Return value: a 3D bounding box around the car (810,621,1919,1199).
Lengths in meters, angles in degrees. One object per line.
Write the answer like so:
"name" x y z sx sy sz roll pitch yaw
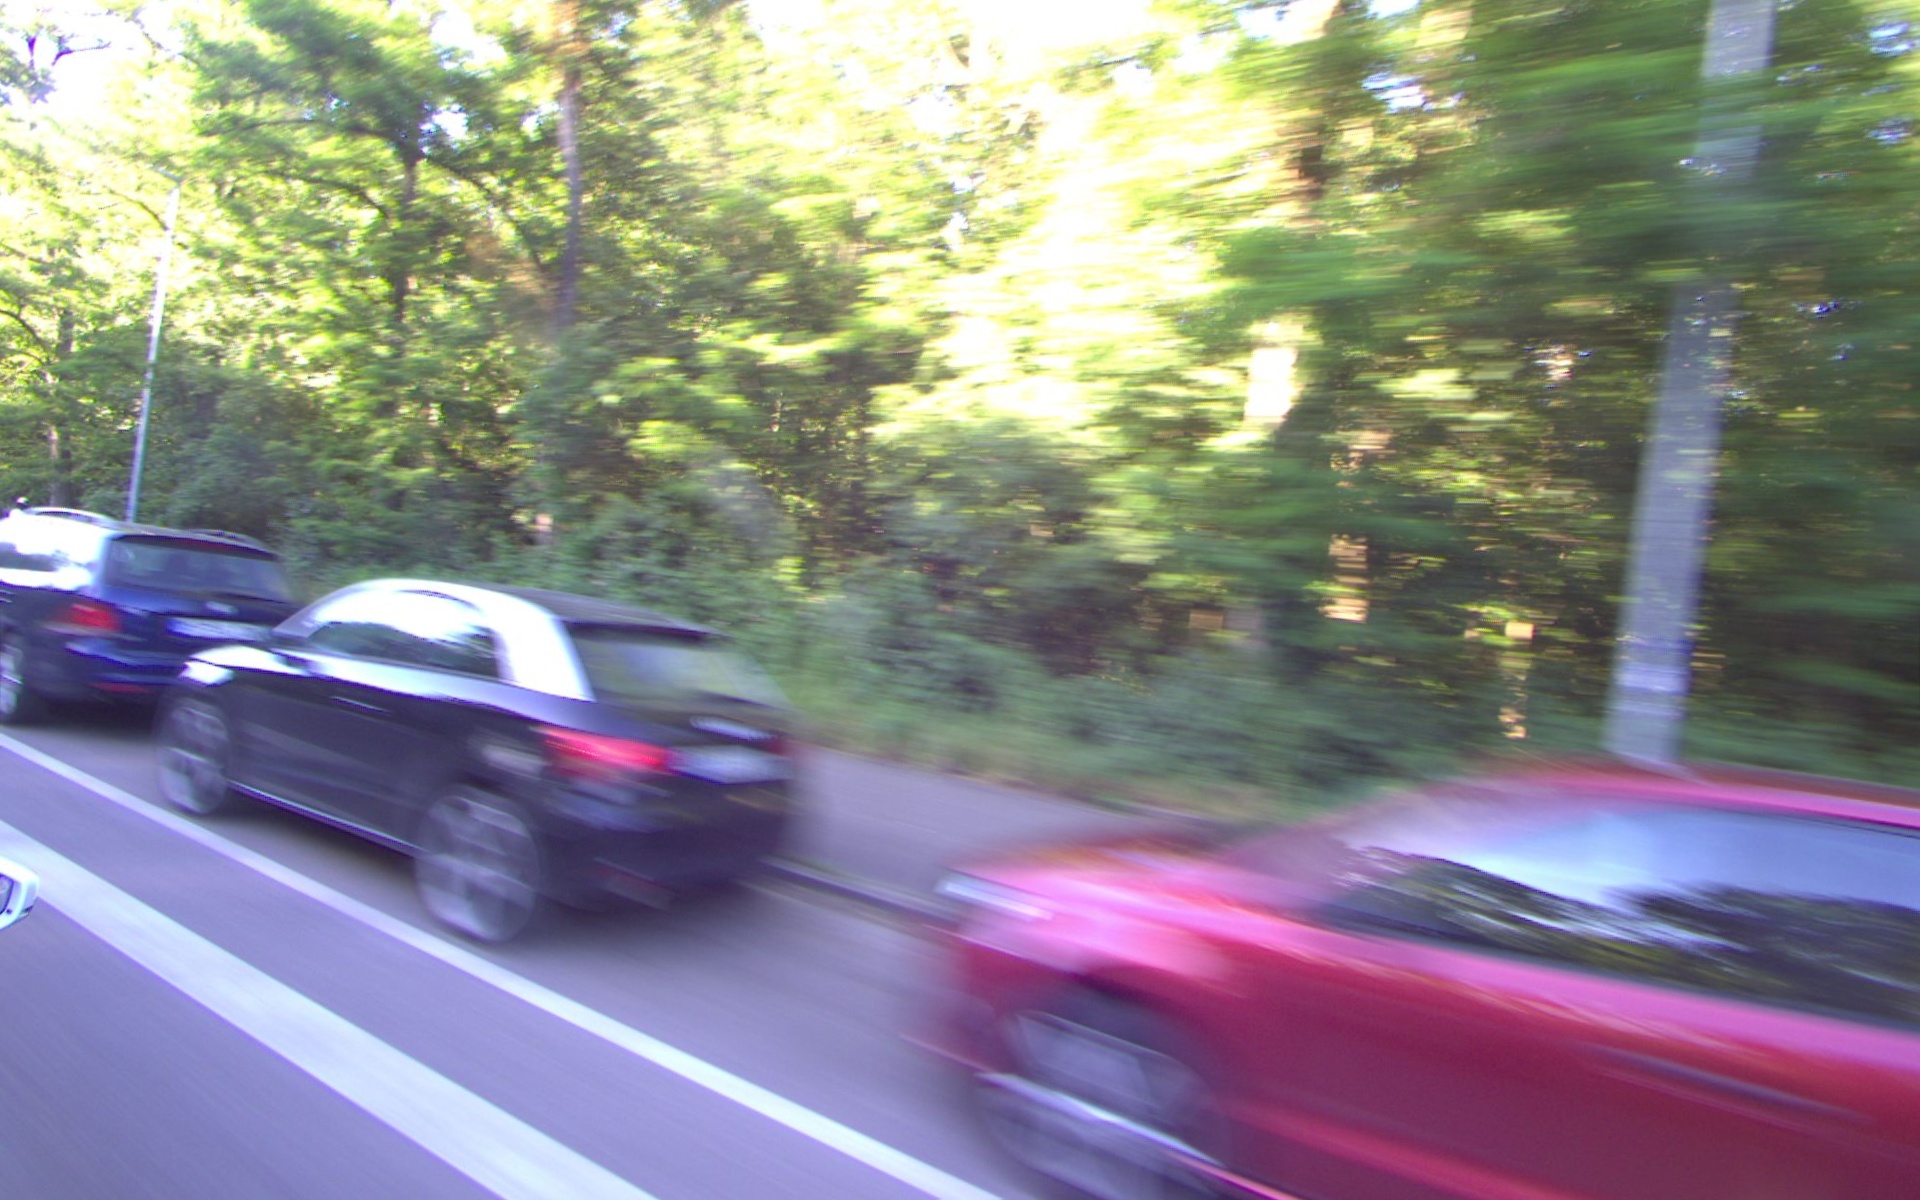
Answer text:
"car" 1.618 1.076 2.870 3.660 1.485 1.621 7 -3 29

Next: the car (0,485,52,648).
"car" -11.571 -0.570 10.781 3.965 1.614 1.800 6 -1 35

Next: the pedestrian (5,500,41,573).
"pedestrian" -21.331 -1.443 22.899 0.474 1.607 0.394 7 1 34

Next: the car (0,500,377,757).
"car" -6.941 0.104 8.176 4.430 1.536 1.812 7 -3 32

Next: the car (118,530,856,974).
"car" -2.608 0.578 5.363 3.734 1.417 1.598 7 -2 30
